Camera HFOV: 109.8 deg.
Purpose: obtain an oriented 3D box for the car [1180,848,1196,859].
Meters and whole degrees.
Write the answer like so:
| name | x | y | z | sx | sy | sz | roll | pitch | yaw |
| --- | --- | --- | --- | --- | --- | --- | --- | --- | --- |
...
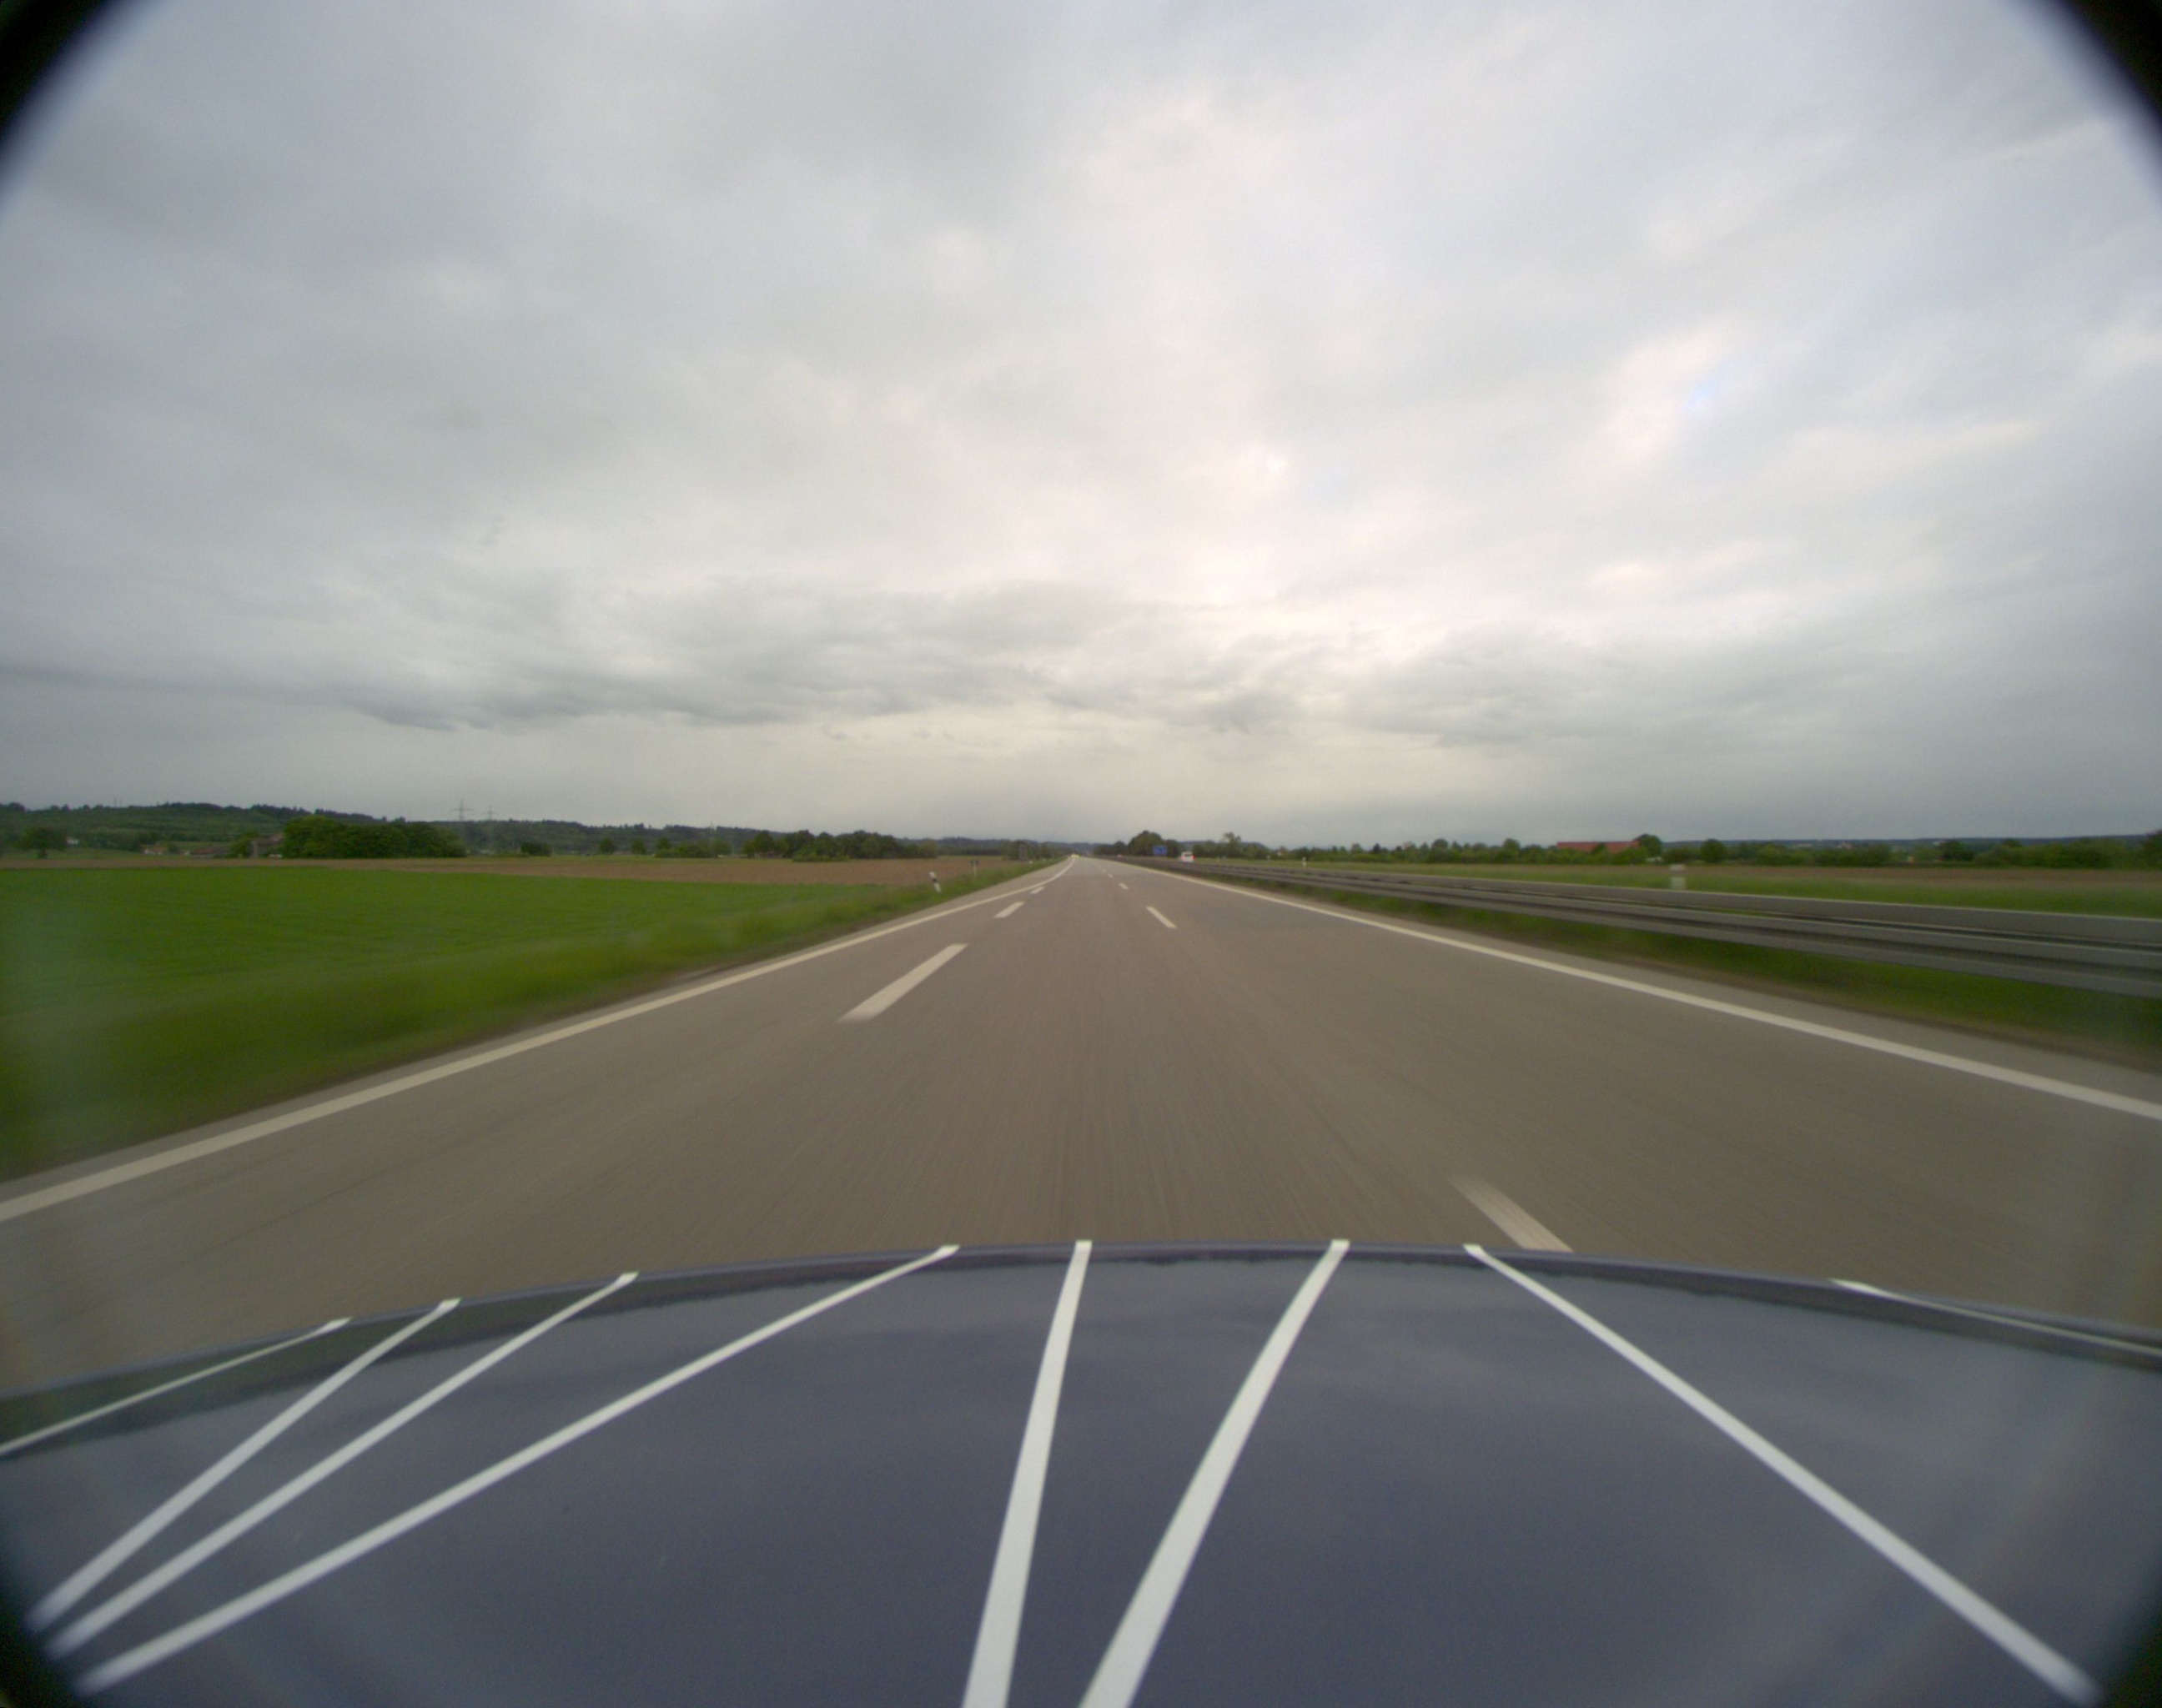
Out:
| name | x | y | z | sx | sy | sz | roll | pitch | yaw |
| --- | --- | --- | --- | --- | --- | --- | --- | --- | --- |
| car | 18.003 | -0.092 | 128.162 | 1.998 | 1.755 | 4.951 | -2 | 0 | 0 |
